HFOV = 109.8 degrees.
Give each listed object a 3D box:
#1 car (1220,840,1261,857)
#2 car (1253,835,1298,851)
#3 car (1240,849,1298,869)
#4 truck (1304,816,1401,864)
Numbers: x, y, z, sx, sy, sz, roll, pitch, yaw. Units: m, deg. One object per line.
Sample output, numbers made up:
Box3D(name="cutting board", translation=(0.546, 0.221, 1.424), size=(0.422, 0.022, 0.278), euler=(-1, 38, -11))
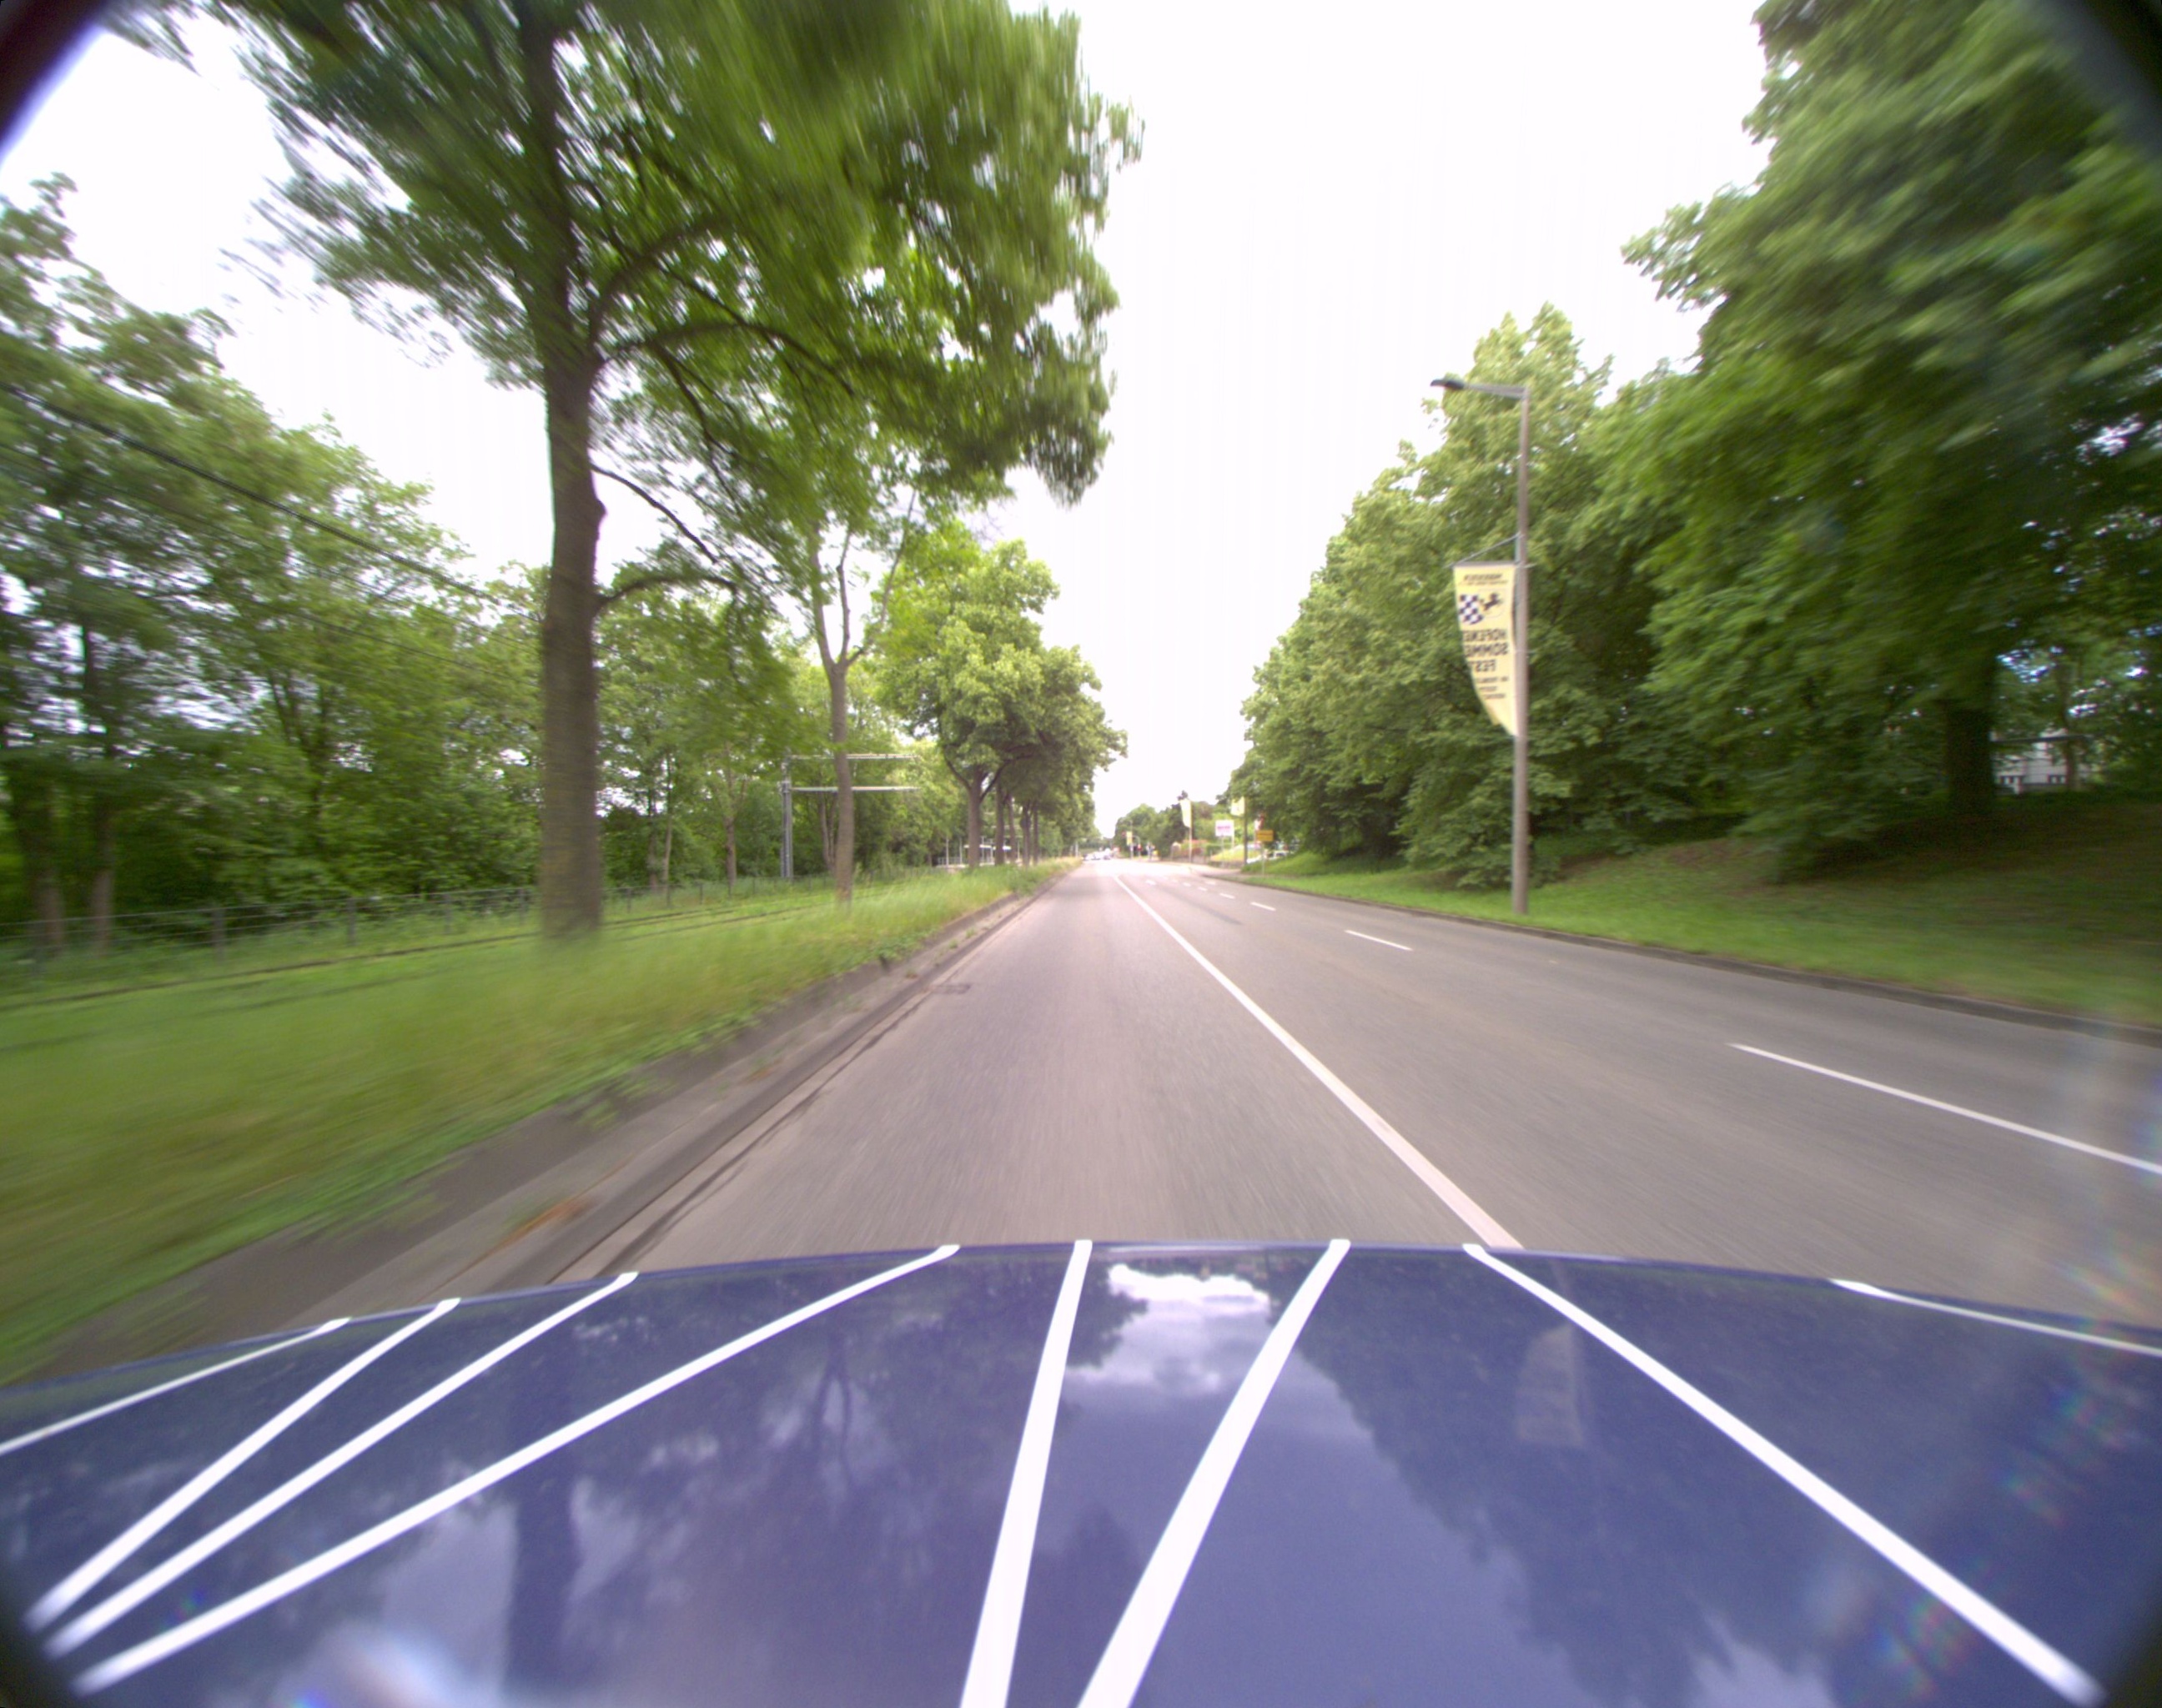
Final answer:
Box3D(name="car", translation=(16.733, -0.600, 79.909), size=(3.905, 1.608, 1.879), euler=(-2, 1, 1))
Box3D(name="car", translation=(19.482, -1.100, 76.181), size=(3.997, 1.499, 1.734), euler=(-2, 1, 1))
Box3D(name="car", translation=(15.317, 0.399, 62.116), size=(4.220, 1.483, 1.749), euler=(-2, -1, -3))
Box3D(name="truck", translation=(22.122, -1.121, 62.215), size=(6.923, 3.609, 2.658), euler=(-2, 1, 1))
